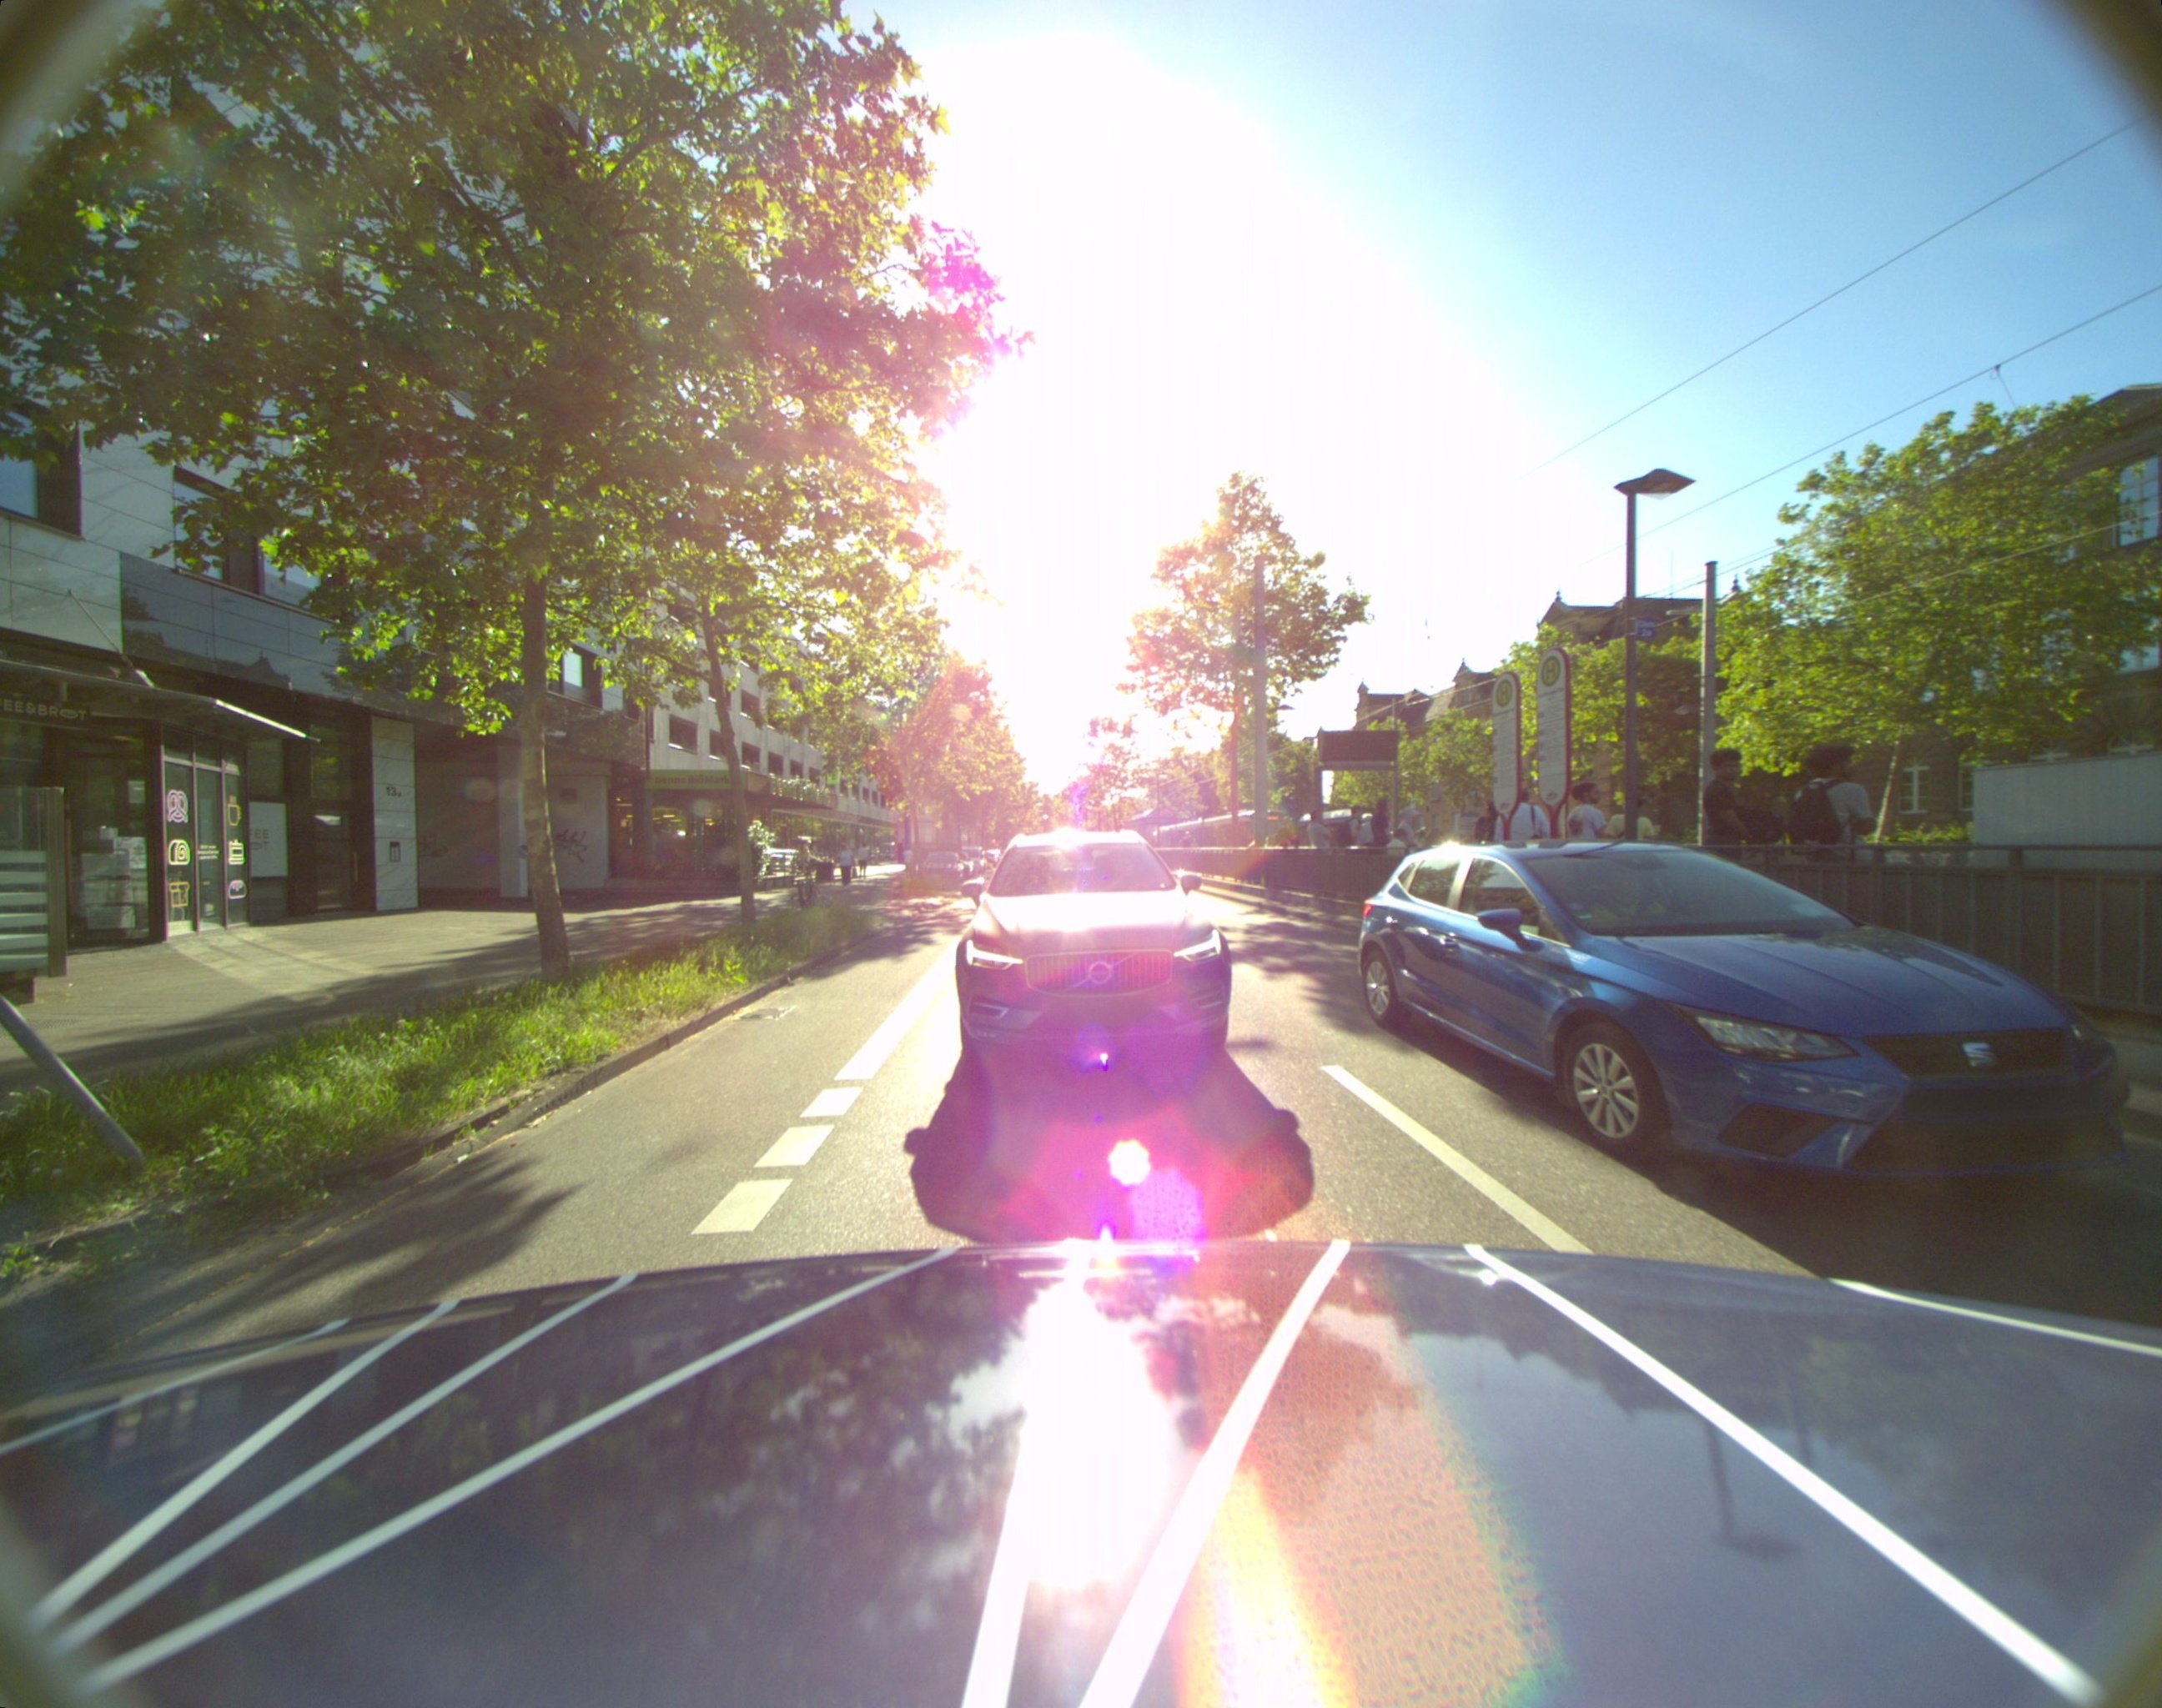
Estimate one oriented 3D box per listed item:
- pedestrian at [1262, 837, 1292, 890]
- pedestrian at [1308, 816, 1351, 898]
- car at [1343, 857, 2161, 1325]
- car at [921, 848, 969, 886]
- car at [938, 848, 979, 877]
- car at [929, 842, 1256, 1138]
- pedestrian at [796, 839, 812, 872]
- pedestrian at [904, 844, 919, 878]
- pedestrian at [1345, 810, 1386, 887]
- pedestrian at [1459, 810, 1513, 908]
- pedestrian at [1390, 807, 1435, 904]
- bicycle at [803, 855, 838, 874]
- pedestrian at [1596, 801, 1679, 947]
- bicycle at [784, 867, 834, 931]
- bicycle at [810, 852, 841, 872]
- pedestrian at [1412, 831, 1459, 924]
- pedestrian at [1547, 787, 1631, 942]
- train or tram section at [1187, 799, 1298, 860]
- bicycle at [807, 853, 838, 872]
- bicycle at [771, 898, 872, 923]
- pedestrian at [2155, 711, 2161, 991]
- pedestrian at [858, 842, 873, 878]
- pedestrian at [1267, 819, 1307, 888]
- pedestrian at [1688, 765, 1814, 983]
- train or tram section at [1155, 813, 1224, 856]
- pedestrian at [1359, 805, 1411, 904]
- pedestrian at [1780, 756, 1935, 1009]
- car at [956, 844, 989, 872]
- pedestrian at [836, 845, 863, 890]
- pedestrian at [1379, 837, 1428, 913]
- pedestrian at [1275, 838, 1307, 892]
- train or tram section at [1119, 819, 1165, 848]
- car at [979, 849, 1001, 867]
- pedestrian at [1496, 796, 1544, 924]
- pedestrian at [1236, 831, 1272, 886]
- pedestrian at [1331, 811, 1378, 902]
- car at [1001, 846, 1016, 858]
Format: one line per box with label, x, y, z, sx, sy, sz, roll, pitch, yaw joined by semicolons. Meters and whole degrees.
pedestrian;4.822;0.221;18.715;0.535;1.292;0.604;0;1;-7
pedestrian;5.004;0.051;15.301;0.662;1.624;0.570;0;1;-2
car;3.110;0.783;4.435;1.707;1.407;3.874;-2;1;-1
car;-6.104;0.549;34.461;1.569;1.541;3.998;-1;1;-3
car;-6.626;0.431;41.573;1.766;1.410;4.698;-2;1;-4
car;-0.034;0.773;6.673;1.914;1.696;4.271;-2;1;-3
pedestrian;-14.598;0.084;40.027;0.614;1.705;0.611;5;0;-28
pedestrian;-8.537;0.358;38.234;0.561;1.694;1.051;0;1;-4
pedestrian;6.211;-0.119;16.593;0.620;1.640;0.622;-1;1;-7
pedestrian;6.369;0.072;11.954;0.546;1.510;0.530;0;1;-3
pedestrian;5.918;0.026;13.594;0.516;1.698;0.621;0;1;-4
bicycle;-13.168;0.524;38.365;1.648;0.911;0.587;2;-2;24
pedestrian;6.913;0.238;9.457;0.555;1.760;0.611;-1;1;-7
bicycle;-5.398;0.854;15.168;0.791;1.127;1.843;-1;1;-16
bicycle;-14.680;0.459;43.714;1.700;1.049;0.587;2;1;24
pedestrian;5.136;0.328;11.015;0.417;1.308;0.507;0;1;-5
pedestrian;5.749;0.113;8.629;0.507;1.692;0.611;-1;1;-7
train or tram section;10.613;-1.505;53.020;2.857;3.414;18.206;-2;1;-3
bicycle;-14.561;0.470;42.821;1.700;1.049;0.587;2;0;24
bicycle;-5.195;1.130;15.362;1.613;0.351;1.388;0;1;-3
pedestrian;6.372;-0.093;4.044;0.549;1.724;0.539;-1;1;-7
pedestrian;-10.747;0.291;37.892;0.561;1.734;0.878;0;1;-4
pedestrian;5.330;-0.008;19.659;0.778;1.742;0.723;0;1;-7
pedestrian;5.538;0.153;6.301;0.549;1.724;0.539;-1;1;-7
train or tram section;9.736;-1.733;71.261;2.879;3.414;18.267;-2;1;-3
pedestrian;5.245;0.006;13.151;0.662;1.686;0.570;0;1;-2
pedestrian;5.567;0.192;5.473;0.540;1.724;0.549;-1;1;-8
car;-7.240;0.249;51.134;1.769;1.781;4.391;0;1;-3
pedestrian;-8.551;0.482;28.073;0.699;1.603;0.867;1;1;-1
pedestrian;5.207;0.327;12.276;0.546;1.185;0.530;0;1;-3
pedestrian;4.875;0.241;17.626;0.535;1.239;0.604;0;1;-5
train or tram section;5.890;-1.914;75.652;2.570;2.517;15.066;-1;1;-3
car;-7.941;0.303;66.578;1.678;1.430;3.688;2;1;-4
pedestrian;5.970;0.076;10.349;0.506;1.692;0.612;0;1;24
pedestrian;4.797;0.110;21.096;0.778;1.501;0.751;0;1;-7
pedestrian;5.126;0.042;14.273;0.662;1.686;0.570;0;1;-2
car;-10.287;-0.319;108.000;1.839;1.556;4.271;-2;1;-3
